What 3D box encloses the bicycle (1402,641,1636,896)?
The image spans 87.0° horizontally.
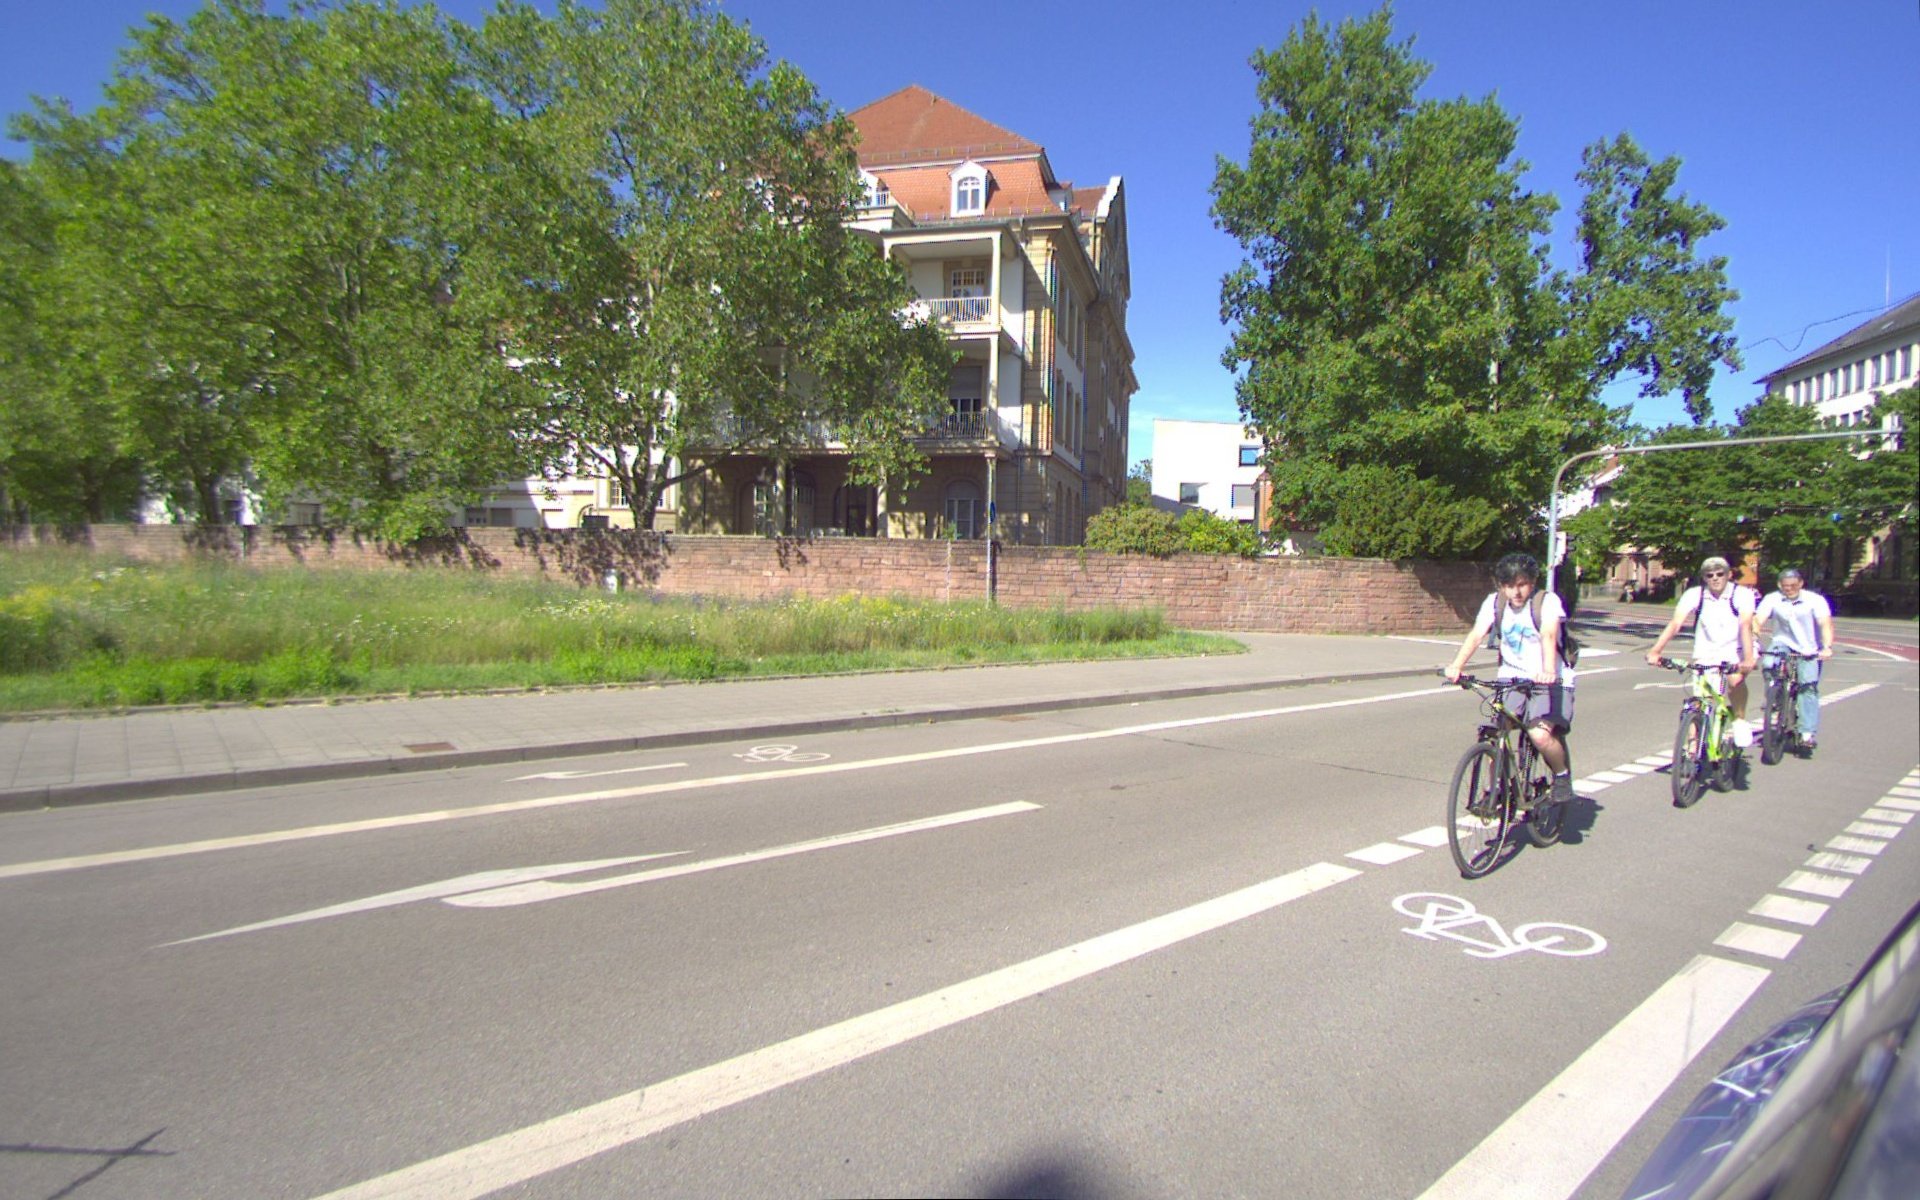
[{"bbox_3d":[3.229,0.857,5.766,1.795,1.152,0.616,0,1,-42],"label":"bicycle"}]

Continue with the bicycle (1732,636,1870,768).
[{"bbox_3d":[8.172,0.929,9.808,1.870,1.063,0.749,0,2,-42],"label":"bicycle"}]

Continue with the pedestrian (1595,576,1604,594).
[{"bbox_3d":[68.105,-1.599,107.777,0.751,1.836,0.969,1,-3,30],"label":"pedestrian"}]

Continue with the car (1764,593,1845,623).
[{"bbox_3d":[48.347,0.429,58.034,1.822,1.504,4.149,2,2,14],"label":"car"}]

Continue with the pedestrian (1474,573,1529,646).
[{"bbox_3d":[14.343,0.244,26.817,0.942,1.872,0.732,2,2,-4],"label":"pedestrian"}]

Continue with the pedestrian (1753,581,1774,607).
[{"bbox_3d":[58.428,-0.442,73.582,0.745,1.835,0.978,1,1,9],"label":"pedestrian"}]

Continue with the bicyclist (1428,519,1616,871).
[{"bbox_3d":[3.208,0.479,5.764,0.923,1.808,0.677,0,0,-42],"label":"bicyclist"}]

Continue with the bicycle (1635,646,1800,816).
[{"bbox_3d":[5.820,0.926,7.735,1.812,1.064,0.672,0,0,-42],"label":"bicycle"}]

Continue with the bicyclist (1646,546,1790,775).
[{"bbox_3d":[5.763,0.420,7.688,1.062,1.603,0.675,0,0,-42],"label":"bicyclist"}]

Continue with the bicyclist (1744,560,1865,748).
[{"bbox_3d":[8.114,0.476,9.727,0.851,1.695,0.741,0,2,-42],"label":"bicyclist"}]
